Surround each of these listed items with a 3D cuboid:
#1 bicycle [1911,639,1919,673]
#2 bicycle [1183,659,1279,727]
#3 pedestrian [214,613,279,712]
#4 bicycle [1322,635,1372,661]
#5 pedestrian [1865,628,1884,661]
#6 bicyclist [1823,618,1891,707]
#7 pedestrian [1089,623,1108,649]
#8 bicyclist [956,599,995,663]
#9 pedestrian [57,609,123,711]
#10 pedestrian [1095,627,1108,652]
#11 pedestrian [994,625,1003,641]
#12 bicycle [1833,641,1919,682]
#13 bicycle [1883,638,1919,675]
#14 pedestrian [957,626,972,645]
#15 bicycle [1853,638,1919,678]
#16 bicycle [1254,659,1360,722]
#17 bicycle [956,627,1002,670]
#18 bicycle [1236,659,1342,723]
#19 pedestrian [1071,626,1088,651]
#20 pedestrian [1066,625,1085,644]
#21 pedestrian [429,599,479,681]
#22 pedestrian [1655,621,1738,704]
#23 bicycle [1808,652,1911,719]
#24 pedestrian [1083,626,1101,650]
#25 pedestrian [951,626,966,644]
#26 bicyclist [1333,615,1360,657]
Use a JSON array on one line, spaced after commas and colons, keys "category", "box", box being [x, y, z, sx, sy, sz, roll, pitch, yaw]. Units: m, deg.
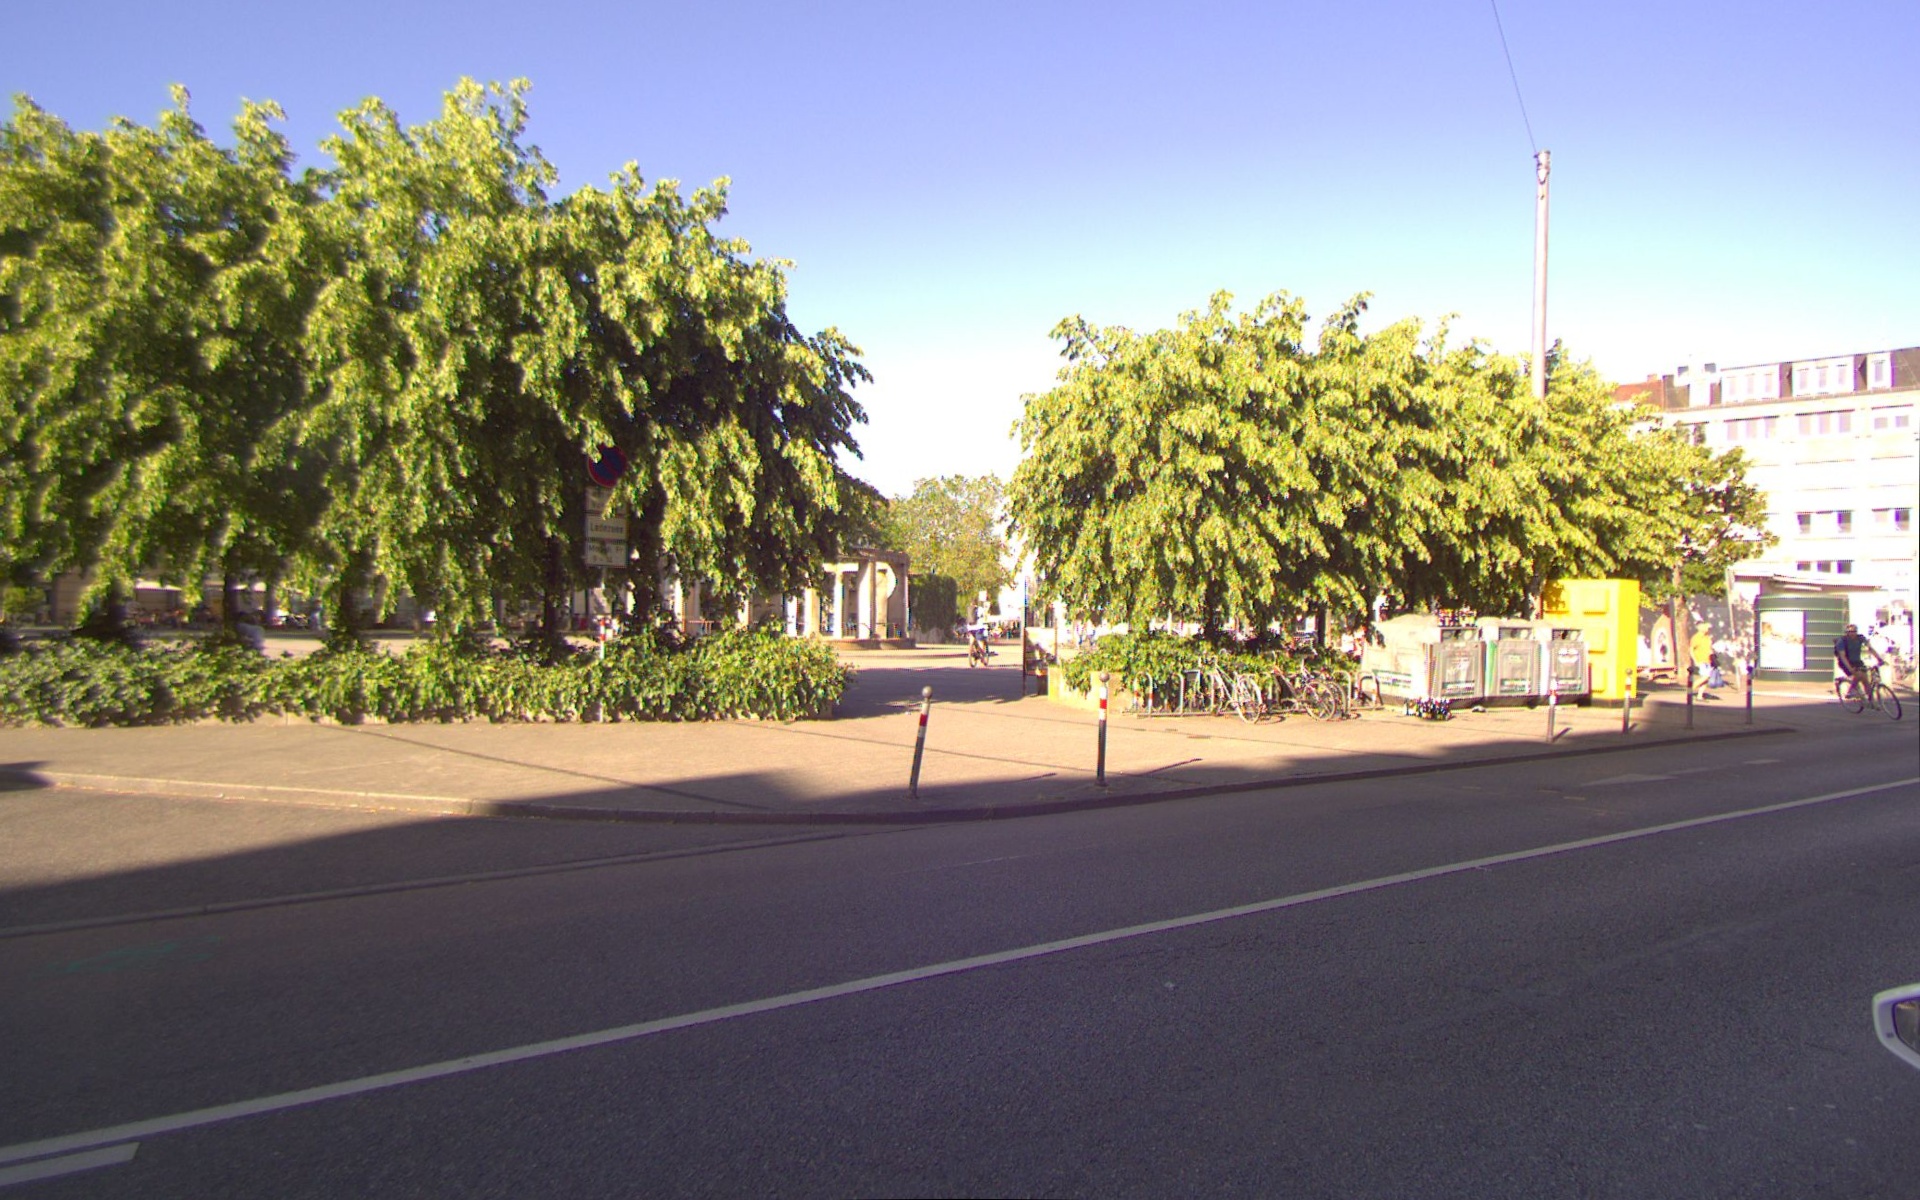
[{"category": "bicycle", "box": [37.236, 2.156, 37.275, 0.932, 1.276, 2.648, 2, 0, -32]}, {"category": "bicycle", "box": [4.166, 1.412, 15.523, 0.464, 0.897, 1.558, 2, 0, -29]}, {"category": "pedestrian", "box": [-10.860, 0.935, 15.297, 0.581, 1.456, 0.615, 2, 0, 33]}, {"category": "bicycle", "box": [13.098, 1.625, 34.066, 0.571, 0.834, 1.853, 1, -3, -17]}, {"category": "pedestrian", "box": [44.218, 2.133, 48.571, 0.575, 1.544, 0.618, 2, 0, -42]}, {"category": "bicyclist", "box": [18.088, 1.248, 20.267, 0.689, 1.732, 0.810, 1, 0, 11]}, {"category": "pedestrian", "box": [10.338, 2.656, 74.937, 1.274, 1.867, 1.103, 1, 0, 10]}, {"category": "bicyclist", "box": [0.432, 0.861, 27.984, 0.773, 1.722, 0.895, 2, 0, 22]}, {"category": "pedestrian", "box": [-12.868, 0.872, 14.880, 0.615, 1.456, 0.647, 2, 0, -32]}, {"category": "pedestrian", "box": [8.960, 2.497, 63.787, 0.761, 1.541, 0.838, 2, 0, 6]}, {"category": "pedestrian", "box": [3.974, 3.445, 104.602, 0.744, 1.557, 0.673, 2, 0, -12]}, {"category": "bicycle", "box": [31.211, 2.064, 33.762, 0.932, 1.211, 2.645, 2, 0, -32]}, {"category": "bicycle", "box": [35.252, 2.085, 36.130, 0.932, 1.287, 2.859, 2, 0, -32]}, {"category": "pedestrian", "box": [0.381, 2.949, 83.954, 0.867, 1.557, 0.894, 2, 0, 33]}, {"category": "bicycle", "box": [33.133, 2.040, 35.064, 0.923, 1.291, 2.764, 2, 0, -32]}, {"category": "bicycle", "box": [5.664, 1.455, 16.477, 0.465, 0.870, 1.654, 2, 0, -35]}, {"category": "bicycle", "box": [0.545, 1.343, 28.255, 0.593, 1.116, 1.989, 2, 0, 22]}, {"category": "bicycle", "box": [5.266, 1.444, 16.182, 0.465, 0.870, 1.659, 2, 0, -35]}, {"category": "pedestrian", "box": [7.731, 2.464, 64.765, 0.904, 1.541, 0.936, 2, 0, 15]}, {"category": "pedestrian", "box": [7.652, 2.265, 66.705, 0.855, 1.230, 0.895, 2, 0, 44]}, {"category": "pedestrian", "box": [-9.781, 0.764, 19.398, 0.688, 1.541, 0.676, 2, 0, -41]}, {"category": "pedestrian", "box": [16.264, 1.357, 22.201, 1.048, 1.742, 1.105, 2, 0, -28]}, {"category": "bicycle", "box": [18.123, 1.695, 20.304, 0.605, 1.178, 1.959, 2, 0, 11]}, {"category": "pedestrian", "box": [8.854, 2.548, 67.509, 1.003, 1.541, 1.036, 2, 0, 15]}, {"category": "pedestrian", "box": [-0.138, 2.921, 84.798, 0.867, 1.497, 0.940, 2, 0, 42]}, {"category": "bicyclist", "box": [13.110, 1.232, 34.082, 0.566, 1.399, 0.706, 2, -3, -17]}]
